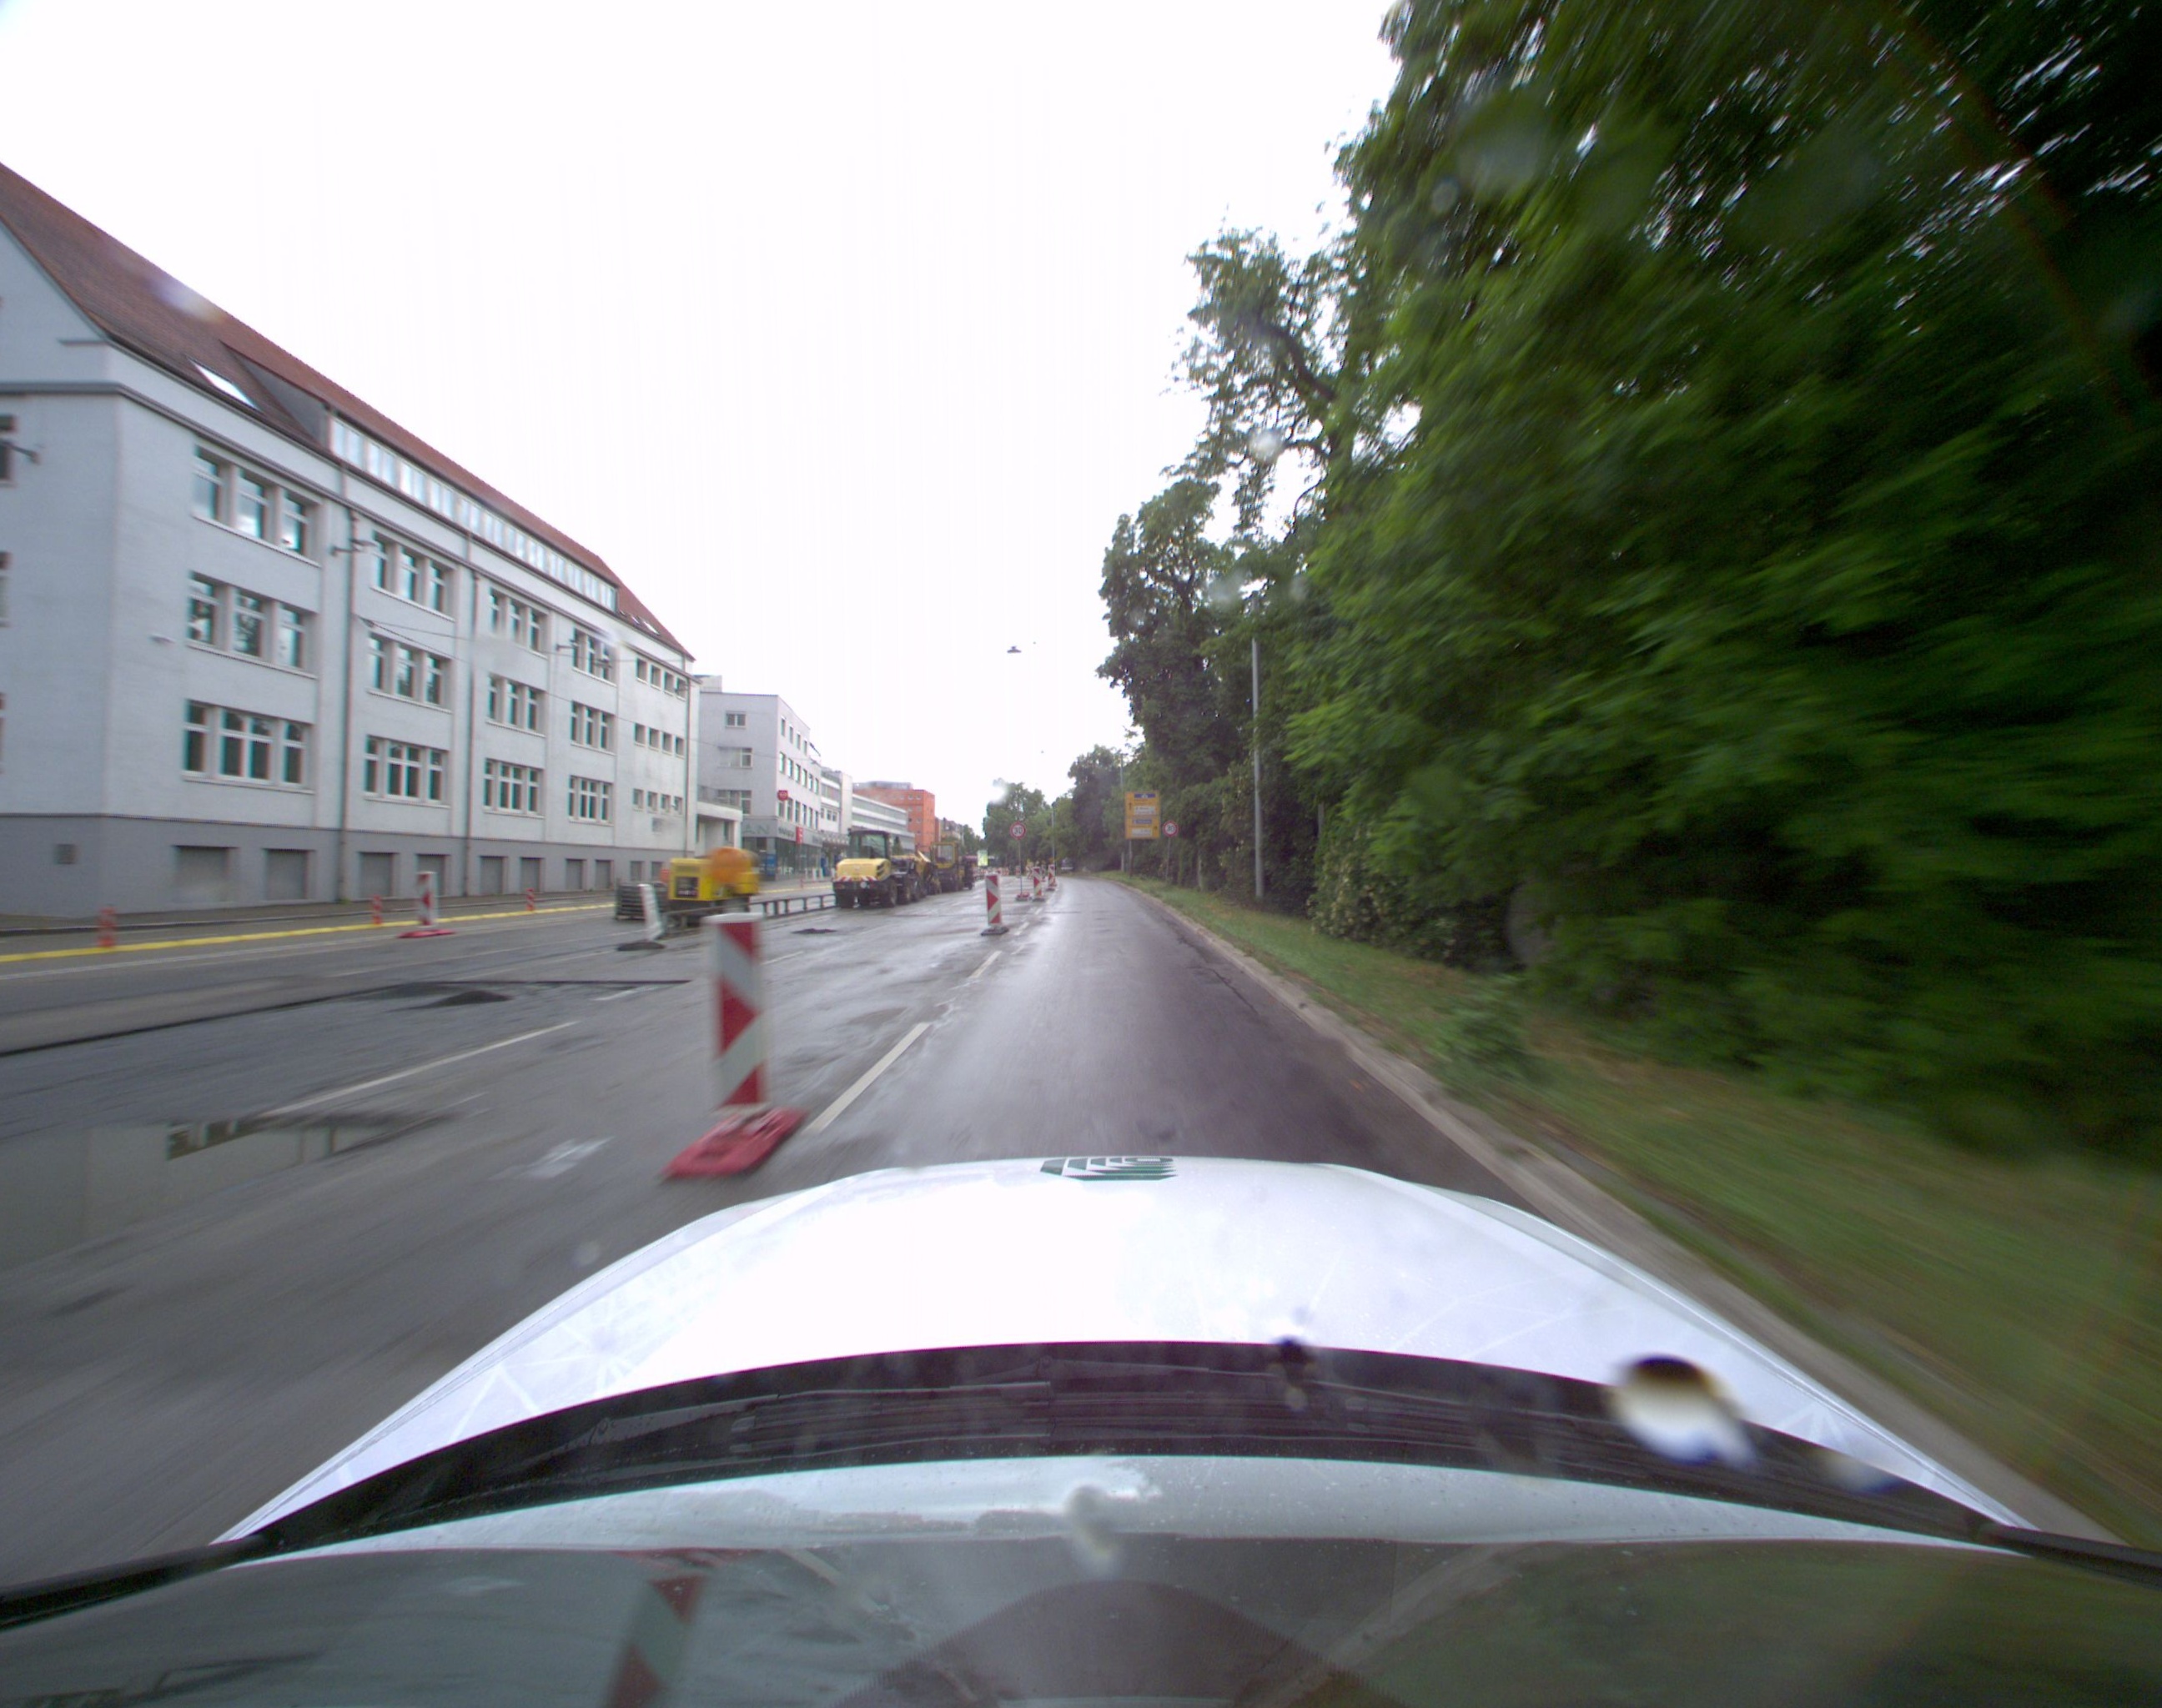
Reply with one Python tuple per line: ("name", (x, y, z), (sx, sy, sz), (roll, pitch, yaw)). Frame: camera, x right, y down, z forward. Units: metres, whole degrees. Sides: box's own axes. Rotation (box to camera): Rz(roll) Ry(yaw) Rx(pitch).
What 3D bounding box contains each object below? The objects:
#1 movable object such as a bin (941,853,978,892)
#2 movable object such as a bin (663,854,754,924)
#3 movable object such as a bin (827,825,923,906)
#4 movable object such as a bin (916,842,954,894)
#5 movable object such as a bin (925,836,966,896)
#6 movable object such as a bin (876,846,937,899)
("movable object such as a bin", (-7.097, 1.082, 47.731), (1.711, 2.150, 3.346), (-2, -1, -2))
("movable object such as a bin", (-9.231, 0.850, 20.311), (1.079, 1.644, 2.439), (0, -2, 1))
("movable object such as a bin", (-7.170, 0.424, 28.970), (1.895, 2.609, 5.384), (0, -1, 1))
("movable object such as a bin", (-7.139, 0.693, 39.947), (1.407, 2.401, 2.404), (-2, -1, -2))
("movable object such as a bin", (-7.169, 0.629, 43.265), (1.461, 3.009, 3.723), (-2, -1, 0))
("movable object such as a bin", (-7.282, 0.771, 34.414), (1.357, 2.090, 5.030), (0, -1, 1))
